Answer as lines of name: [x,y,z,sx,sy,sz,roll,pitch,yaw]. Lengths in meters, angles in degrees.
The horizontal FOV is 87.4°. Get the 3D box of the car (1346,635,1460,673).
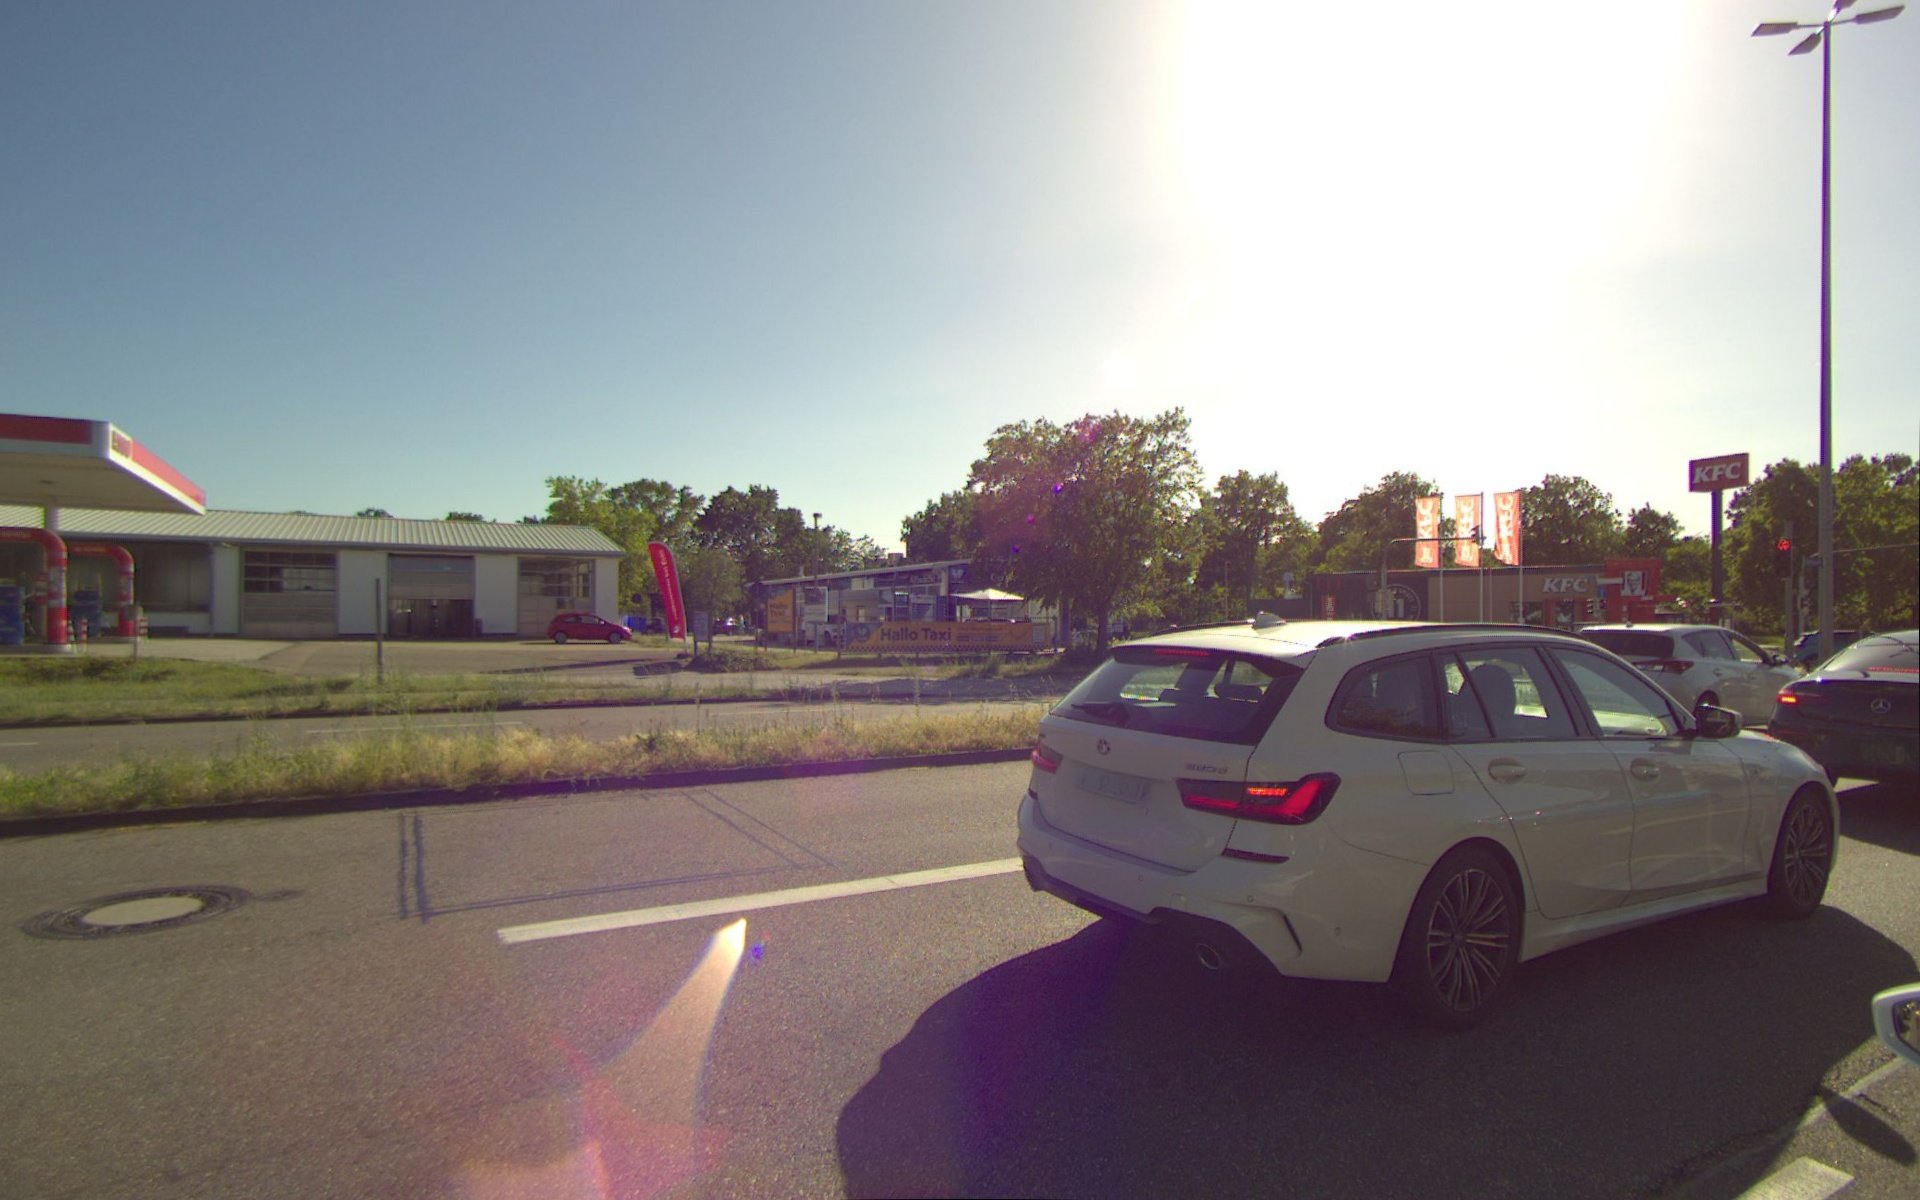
car: [19.066,2.292,43.495,1.835,1.448,4.715,1,-1,-19]

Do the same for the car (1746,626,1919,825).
car: [8.800,0.962,8.622,4.409,1.433,1.760,1,-1,-30]

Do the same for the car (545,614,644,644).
car: [-18.022,1.423,49.548,4.486,1.458,1.741,1,-1,-26]

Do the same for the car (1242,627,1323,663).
car: [17.748,2.444,55.391,1.975,1.817,4.058,1,-1,-28]

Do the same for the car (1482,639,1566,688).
car: [17.940,1.967,31.860,1.796,1.448,4.036,-2,-3,37]

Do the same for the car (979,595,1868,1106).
car: [2.422,0.794,4.901,4.409,1.529,1.760,1,-1,-30]

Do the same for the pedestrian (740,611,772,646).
pedestrian: [-10.494,1.461,51.652,1.140,1.787,1.096,0,-1,36]

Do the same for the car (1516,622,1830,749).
car: [9.643,1.042,13.516,4.352,1.448,1.848,1,-1,-30]

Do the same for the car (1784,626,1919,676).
car: [31.631,1.755,35.361,3.988,1.616,1.817,0,-1,39]

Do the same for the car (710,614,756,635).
car: [-19.933,2.142,88.254,2.085,1.840,4.000,0,-1,20]

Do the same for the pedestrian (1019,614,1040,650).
pedestrian: [3.536,1.632,51.271,0.804,1.828,0.951,1,-1,-13]

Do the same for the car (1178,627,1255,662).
car: [13.744,2.376,53.998,1.738,1.751,3.969,1,-1,-29]
